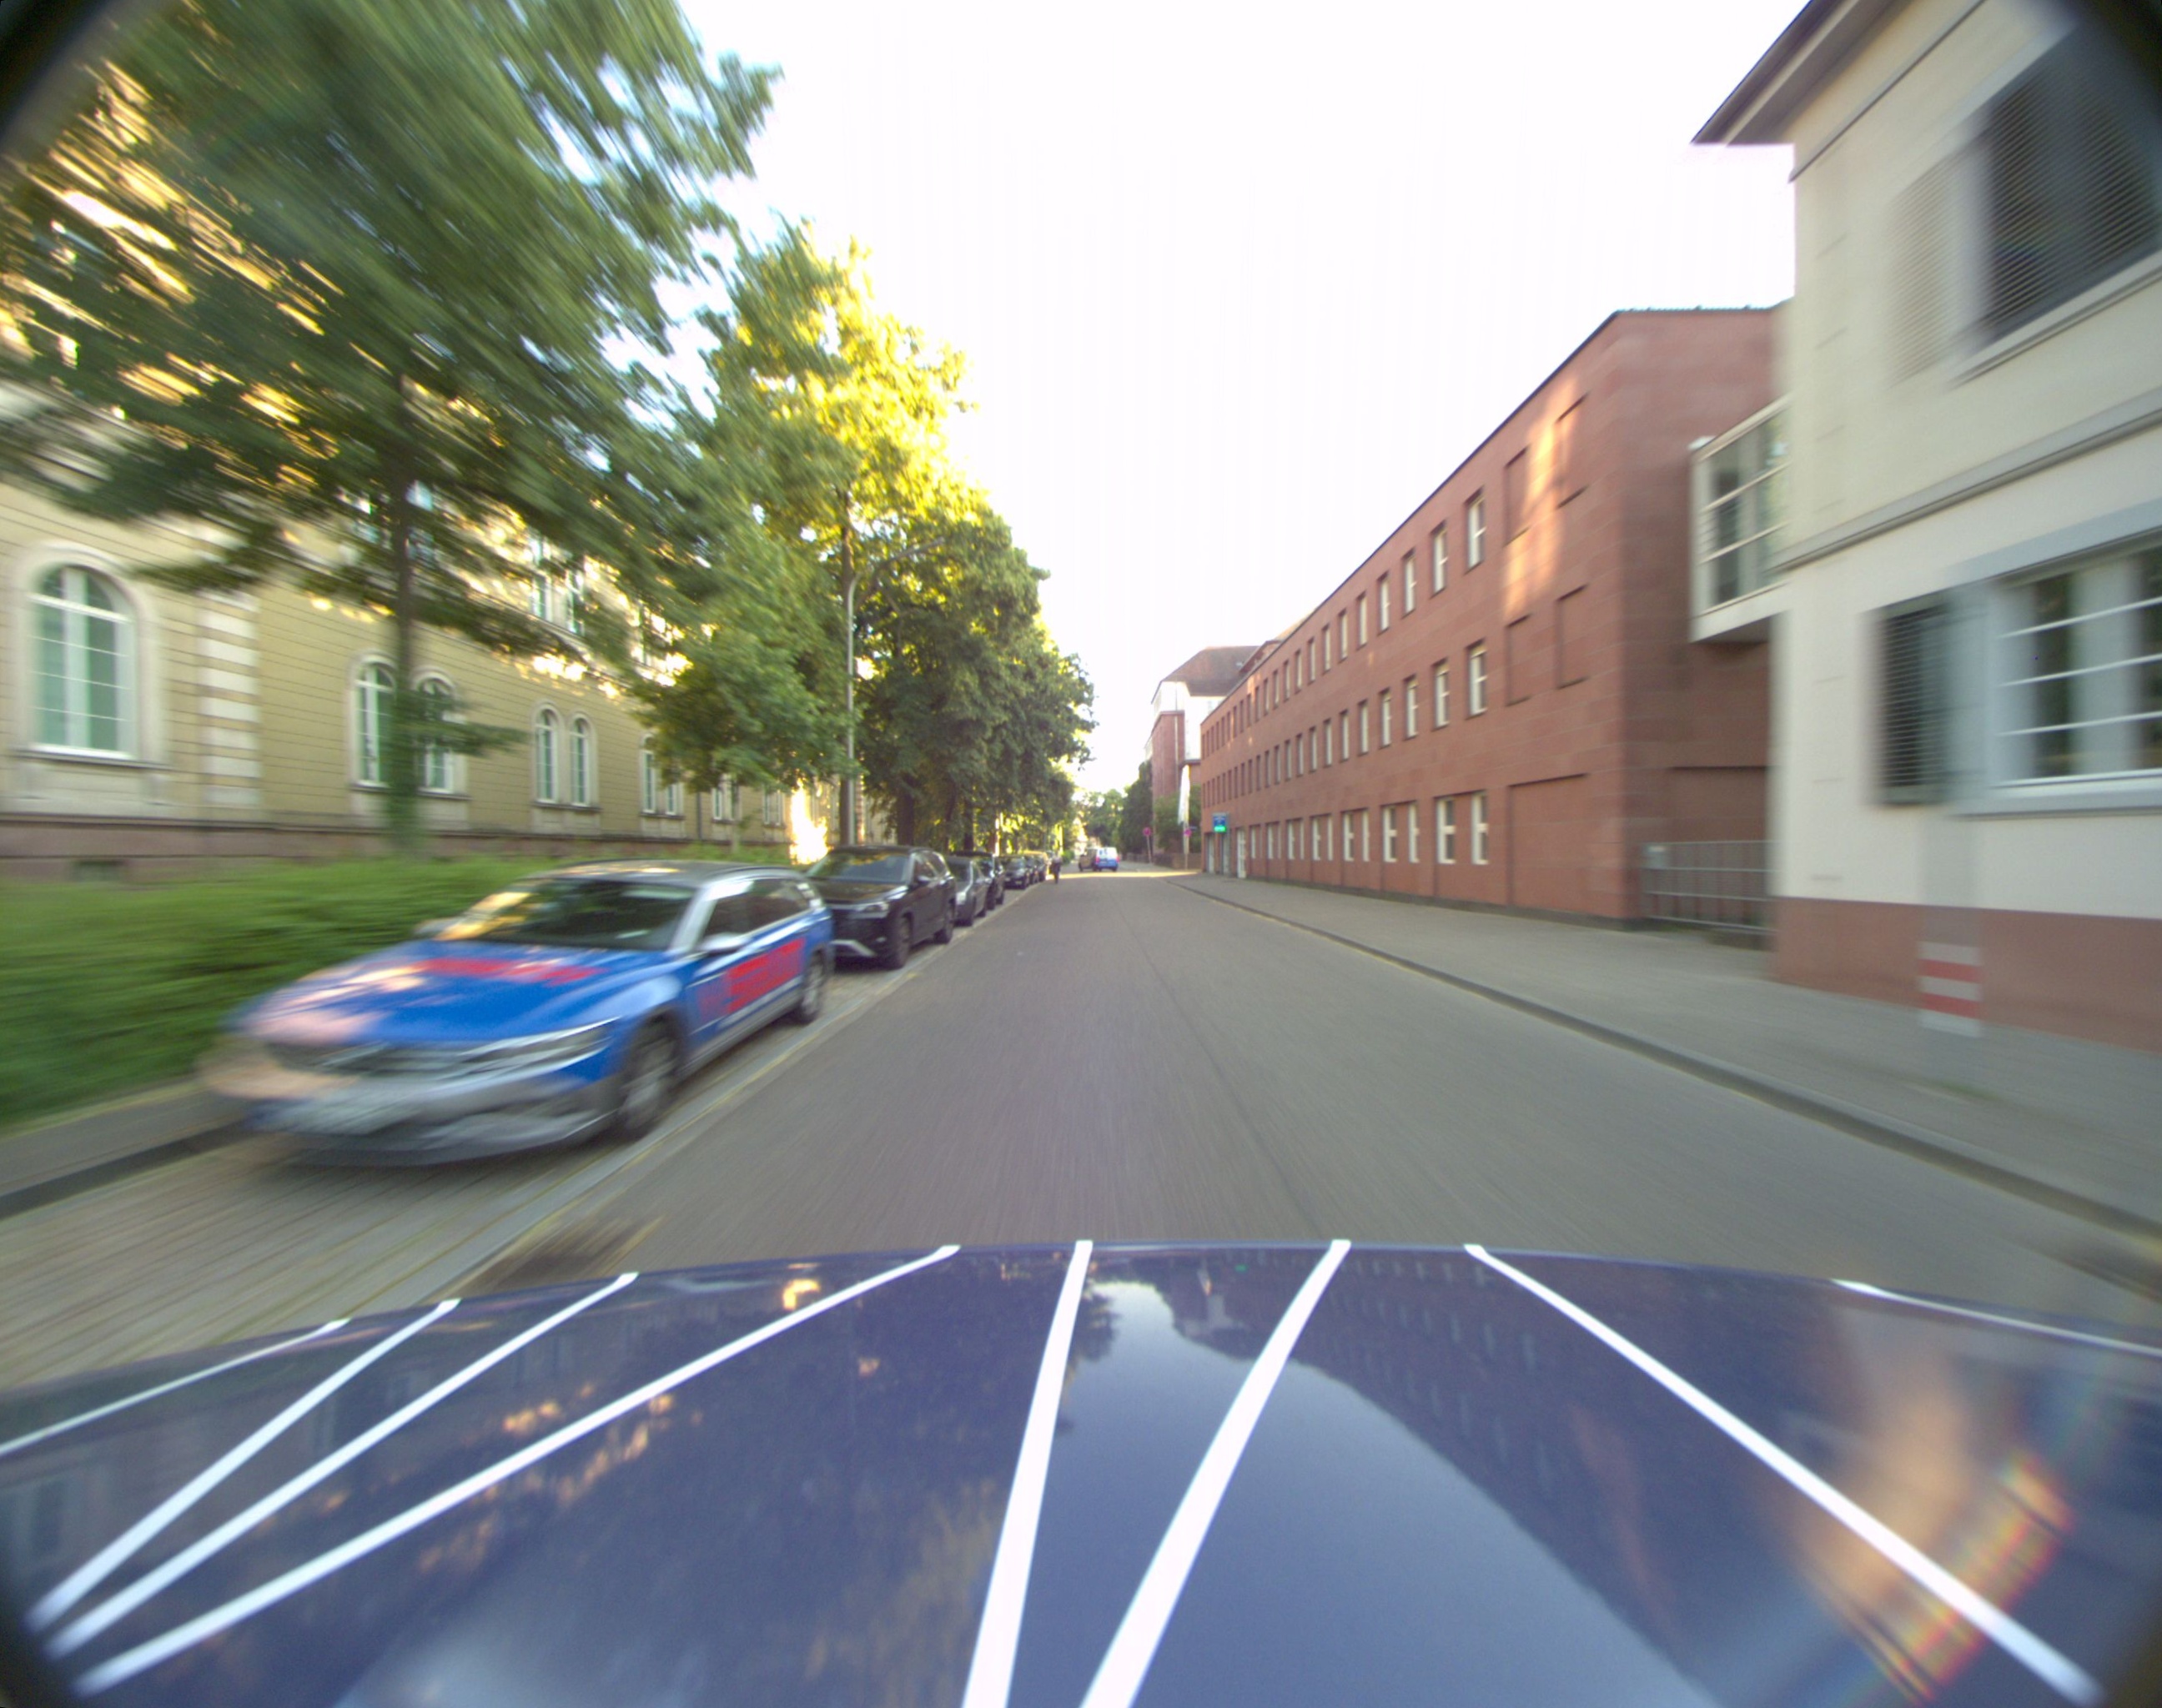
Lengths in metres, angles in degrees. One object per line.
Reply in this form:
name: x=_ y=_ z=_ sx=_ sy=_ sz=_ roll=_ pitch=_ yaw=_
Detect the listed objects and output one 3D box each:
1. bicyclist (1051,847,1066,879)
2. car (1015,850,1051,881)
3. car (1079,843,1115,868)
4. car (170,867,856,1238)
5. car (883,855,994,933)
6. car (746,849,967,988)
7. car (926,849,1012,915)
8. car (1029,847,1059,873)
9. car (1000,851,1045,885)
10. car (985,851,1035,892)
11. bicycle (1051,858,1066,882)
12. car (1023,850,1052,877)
bicyclist: x=-1.187 y=0.460 z=39.674 sx=0.753 sy=1.603 sz=1.038 roll=0 pitch=0 yaw=-2
car: x=-2.726 y=0.621 z=44.311 sx=1.728 sy=1.525 sz=4.622 roll=4 pitch=1 yaw=0
car: x=1.223 y=0.168 z=60.529 sx=2.000 sy=1.863 sz=5.105 roll=-1 pitch=-1 yaw=-9
car: x=-3.241 y=0.943 z=5.728 sx=1.728 sy=1.480 sz=4.609 roll=3 pitch=1 yaw=-1
car: x=-3.094 y=0.803 z=17.314 sx=1.728 sy=1.529 sz=4.189 roll=0 pitch=0 yaw=0
car: x=-3.101 y=0.772 z=11.643 sx=1.728 sy=1.642 sz=4.713 roll=0 pitch=1 yaw=3
car: x=-3.213 y=0.750 z=22.565 sx=1.811 sy=1.641 sz=4.418 roll=4 pitch=0 yaw=0
car: x=-2.724 y=0.388 z=57.072 sx=1.809 sy=1.803 sz=4.947 roll=0 pitch=1 yaw=3
car: x=-2.981 y=0.665 z=39.526 sx=1.728 sy=1.525 sz=4.189 roll=3 pitch=1 yaw=3
car: x=-3.081 y=0.712 z=33.695 sx=1.739 sy=1.498 sz=4.521 roll=3 pitch=1 yaw=0
bicycle: x=-1.168 y=0.819 z=39.660 sx=0.753 sy=1.245 sz=2.209 roll=0 pitch=0 yaw=-2
car: x=-2.906 y=0.578 z=51.378 sx=1.728 sy=1.673 sz=4.498 roll=0 pitch=1 yaw=0
